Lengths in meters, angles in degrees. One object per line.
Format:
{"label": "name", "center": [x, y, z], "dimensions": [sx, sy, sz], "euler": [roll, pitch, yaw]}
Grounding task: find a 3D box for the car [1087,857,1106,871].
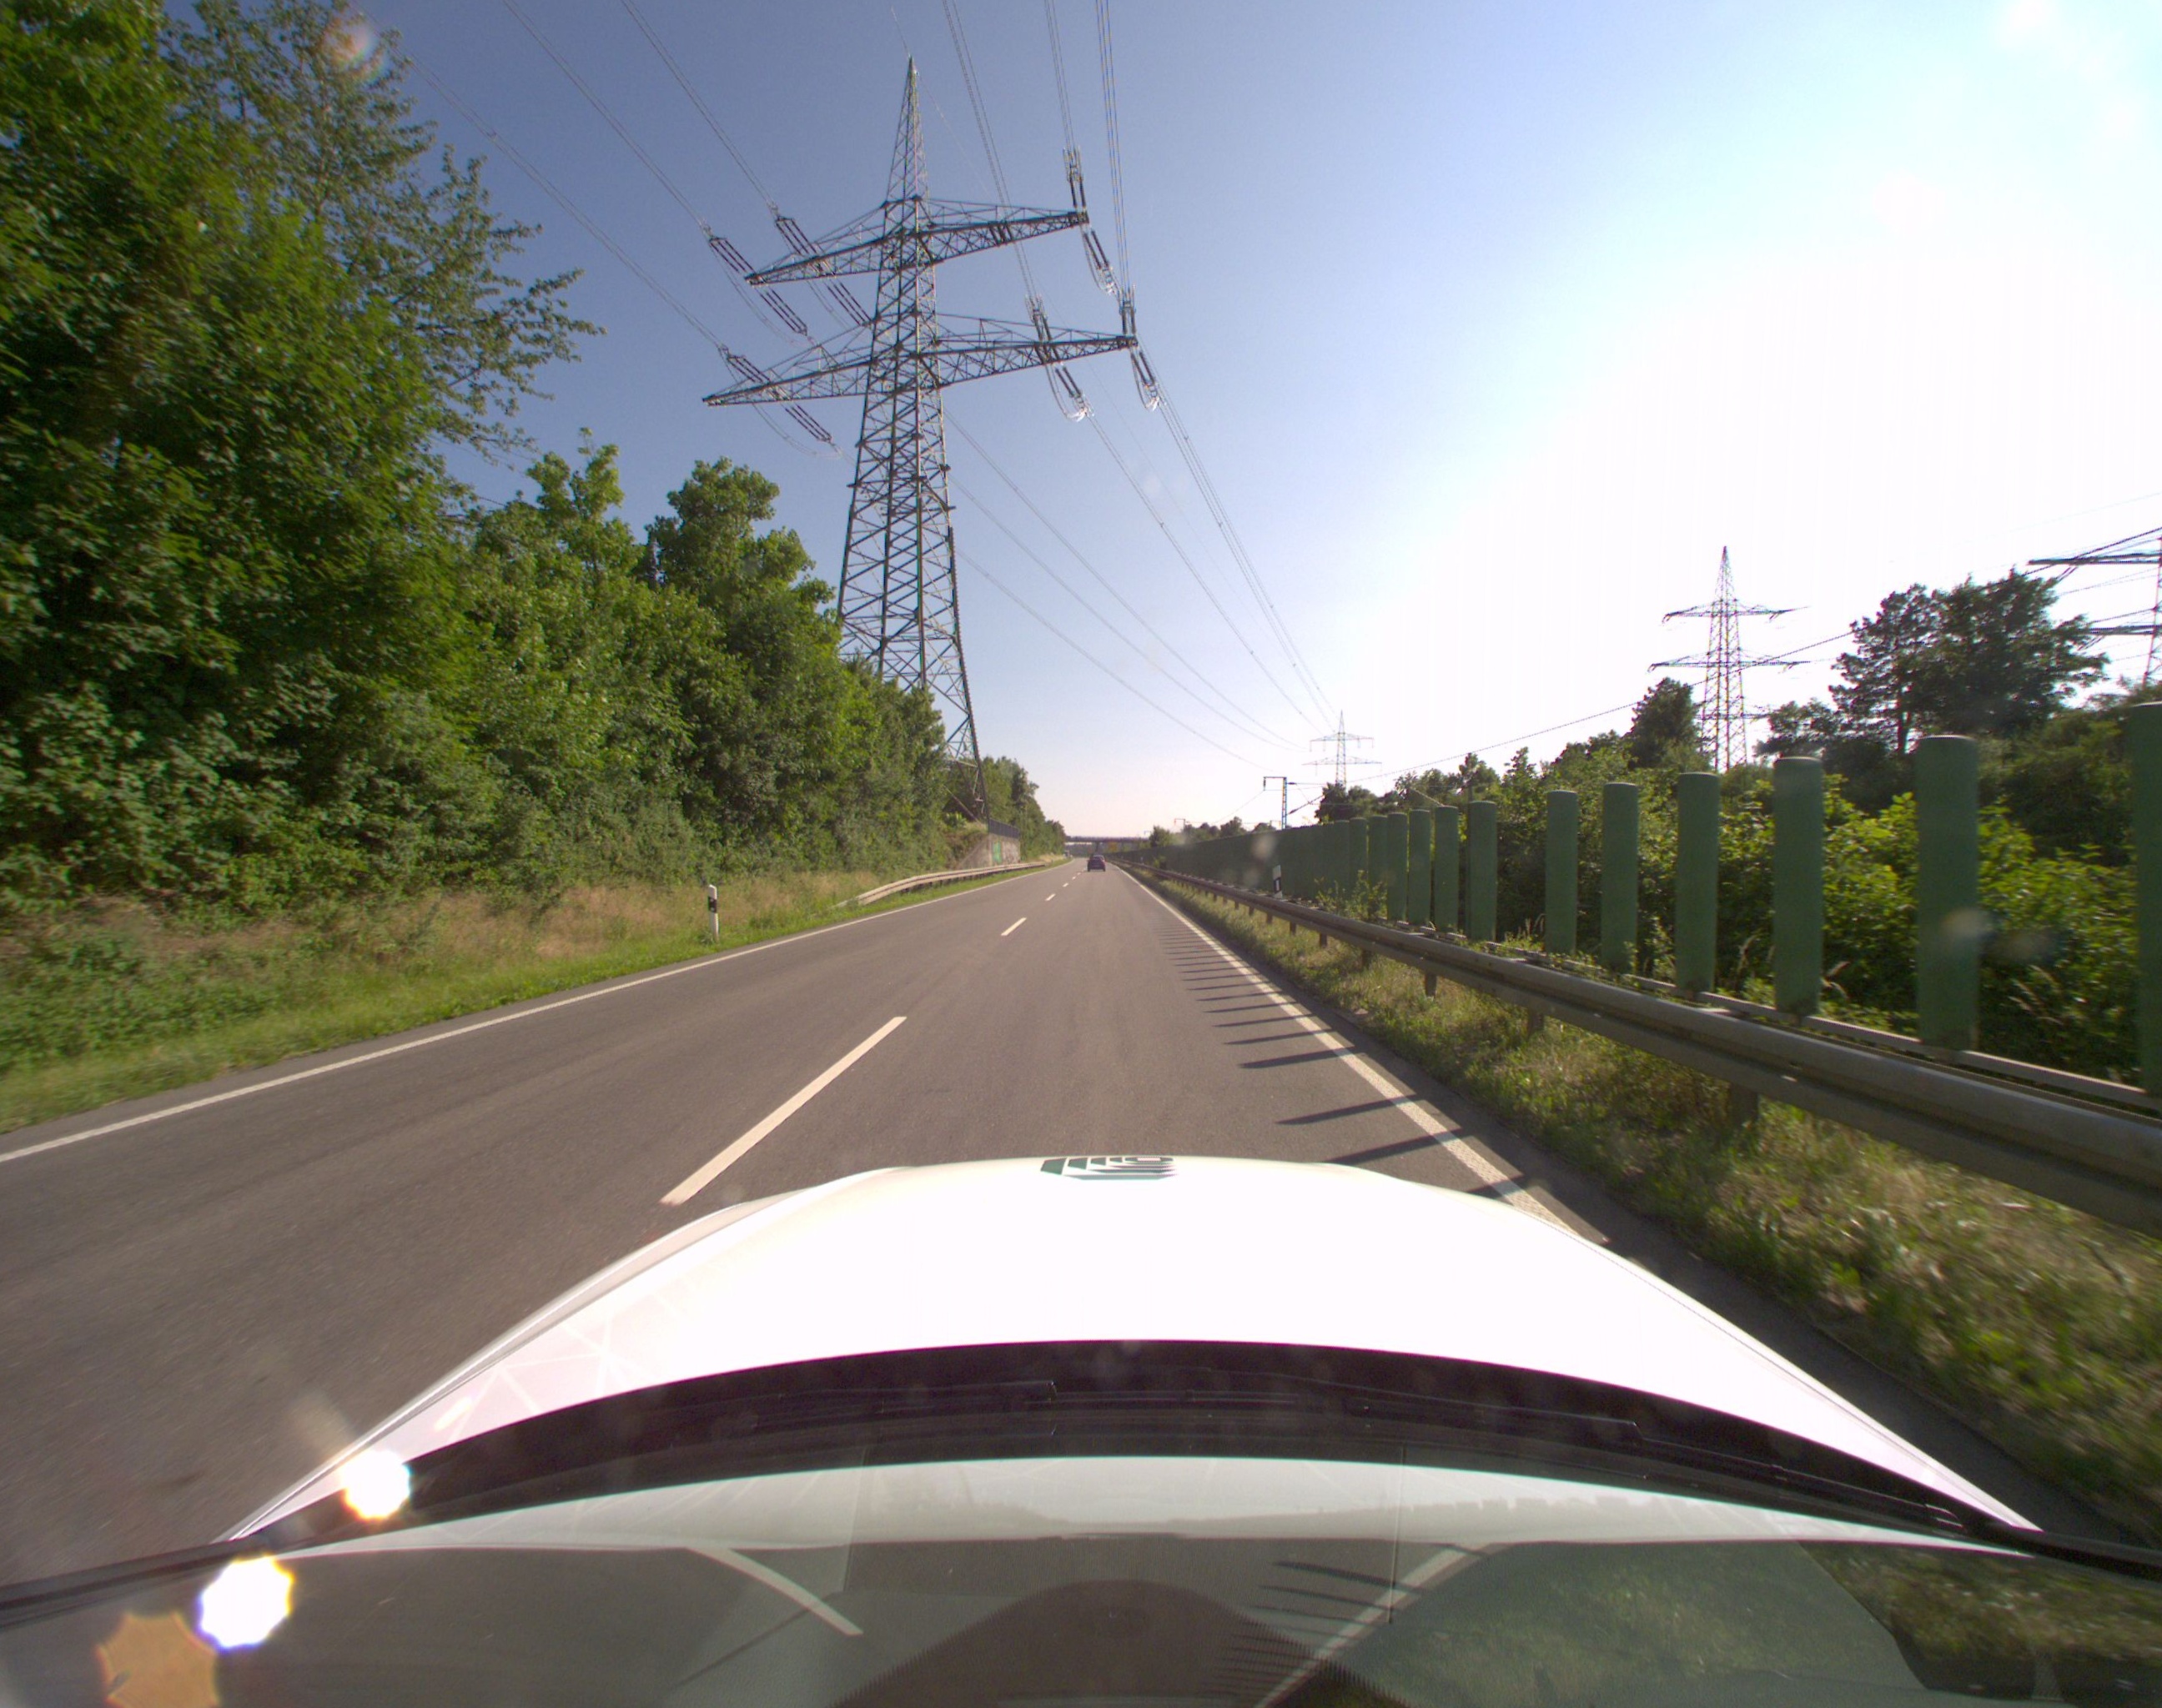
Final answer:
{"label": "car", "center": [1.420, 0.929, 75.111], "dimensions": [1.658, 1.261, 3.998], "euler": [0, -1, -1]}
